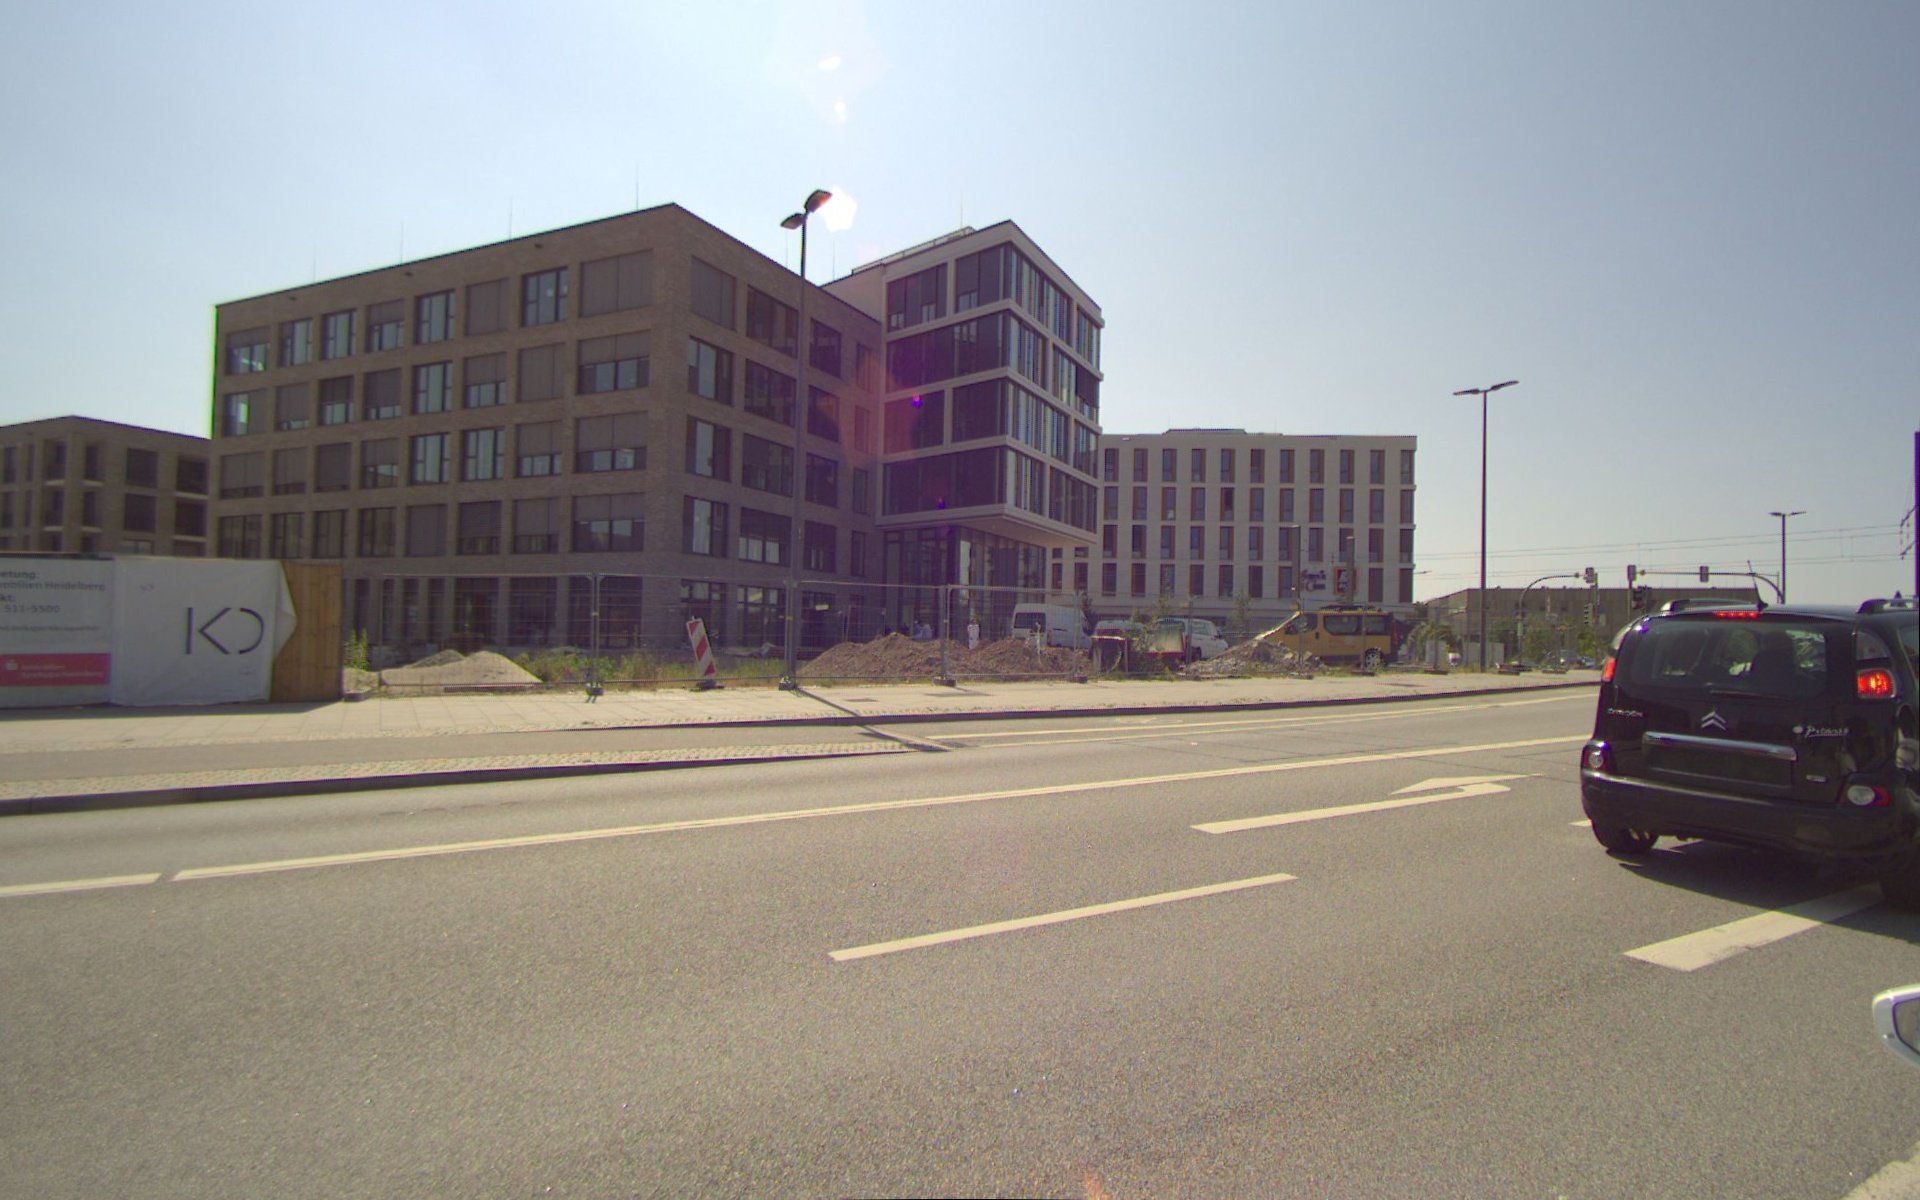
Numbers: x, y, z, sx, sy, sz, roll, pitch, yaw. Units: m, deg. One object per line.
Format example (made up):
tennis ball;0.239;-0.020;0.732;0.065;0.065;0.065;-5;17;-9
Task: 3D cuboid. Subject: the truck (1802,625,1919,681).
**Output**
truck;45.086;2.589;50.046;1.963;2.574;4.704;2;-1;-7

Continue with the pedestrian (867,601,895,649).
pedestrian;-3.405;1.066;43.362;0.949;2.040;0.940;2;0;-17

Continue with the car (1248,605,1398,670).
car;12.094;1.234;33.743;4.395;1.915;2.001;2;0;8

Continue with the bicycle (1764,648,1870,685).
bicycle;26.962;2.087;31.645;0.598;1.020;2.493;2;-1;-29

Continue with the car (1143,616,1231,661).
car;9.601;1.599;42.208;1.969;1.730;4.546;2;0;35

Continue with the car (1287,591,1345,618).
car;28.986;0.372;81.914;1.986;2.040;3.949;2;0;-43

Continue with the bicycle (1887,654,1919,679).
bicycle;28.857;1.991;29.573;0.509;0.701;2.236;2;-1;-29

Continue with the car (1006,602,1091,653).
car;3.997;1.201;44.713;2.175;2.083;4.164;2;0;30

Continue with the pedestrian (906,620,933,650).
pedestrian;-1.996;1.722;49.343;1.099;1.391;0.742;2;0;-17

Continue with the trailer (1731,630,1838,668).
trailer;44.516;2.599;54.358;1.963;1.799;4.281;2;0;-7

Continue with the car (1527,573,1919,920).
car;5.682;0.772;6.539;3.872;1.643;1.795;2;-2;-31

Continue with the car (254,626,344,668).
car;-30.426;2.131;46.233;3.708;1.675;1.834;2;0;26

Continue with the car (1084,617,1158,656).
car;7.069;1.577;43.713;1.773;1.528;3.991;2;0;31

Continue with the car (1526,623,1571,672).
car;26.506;2.084;45.223;1.646;2.040;3.992;2;0;31

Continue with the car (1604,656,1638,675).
car;48.562;4.829;73.827;1.253;1.257;2.486;1;-1;13

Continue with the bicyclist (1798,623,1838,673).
bicyclist;27.003;1.498;31.611;0.833;1.522;0.654;2;0;-29
